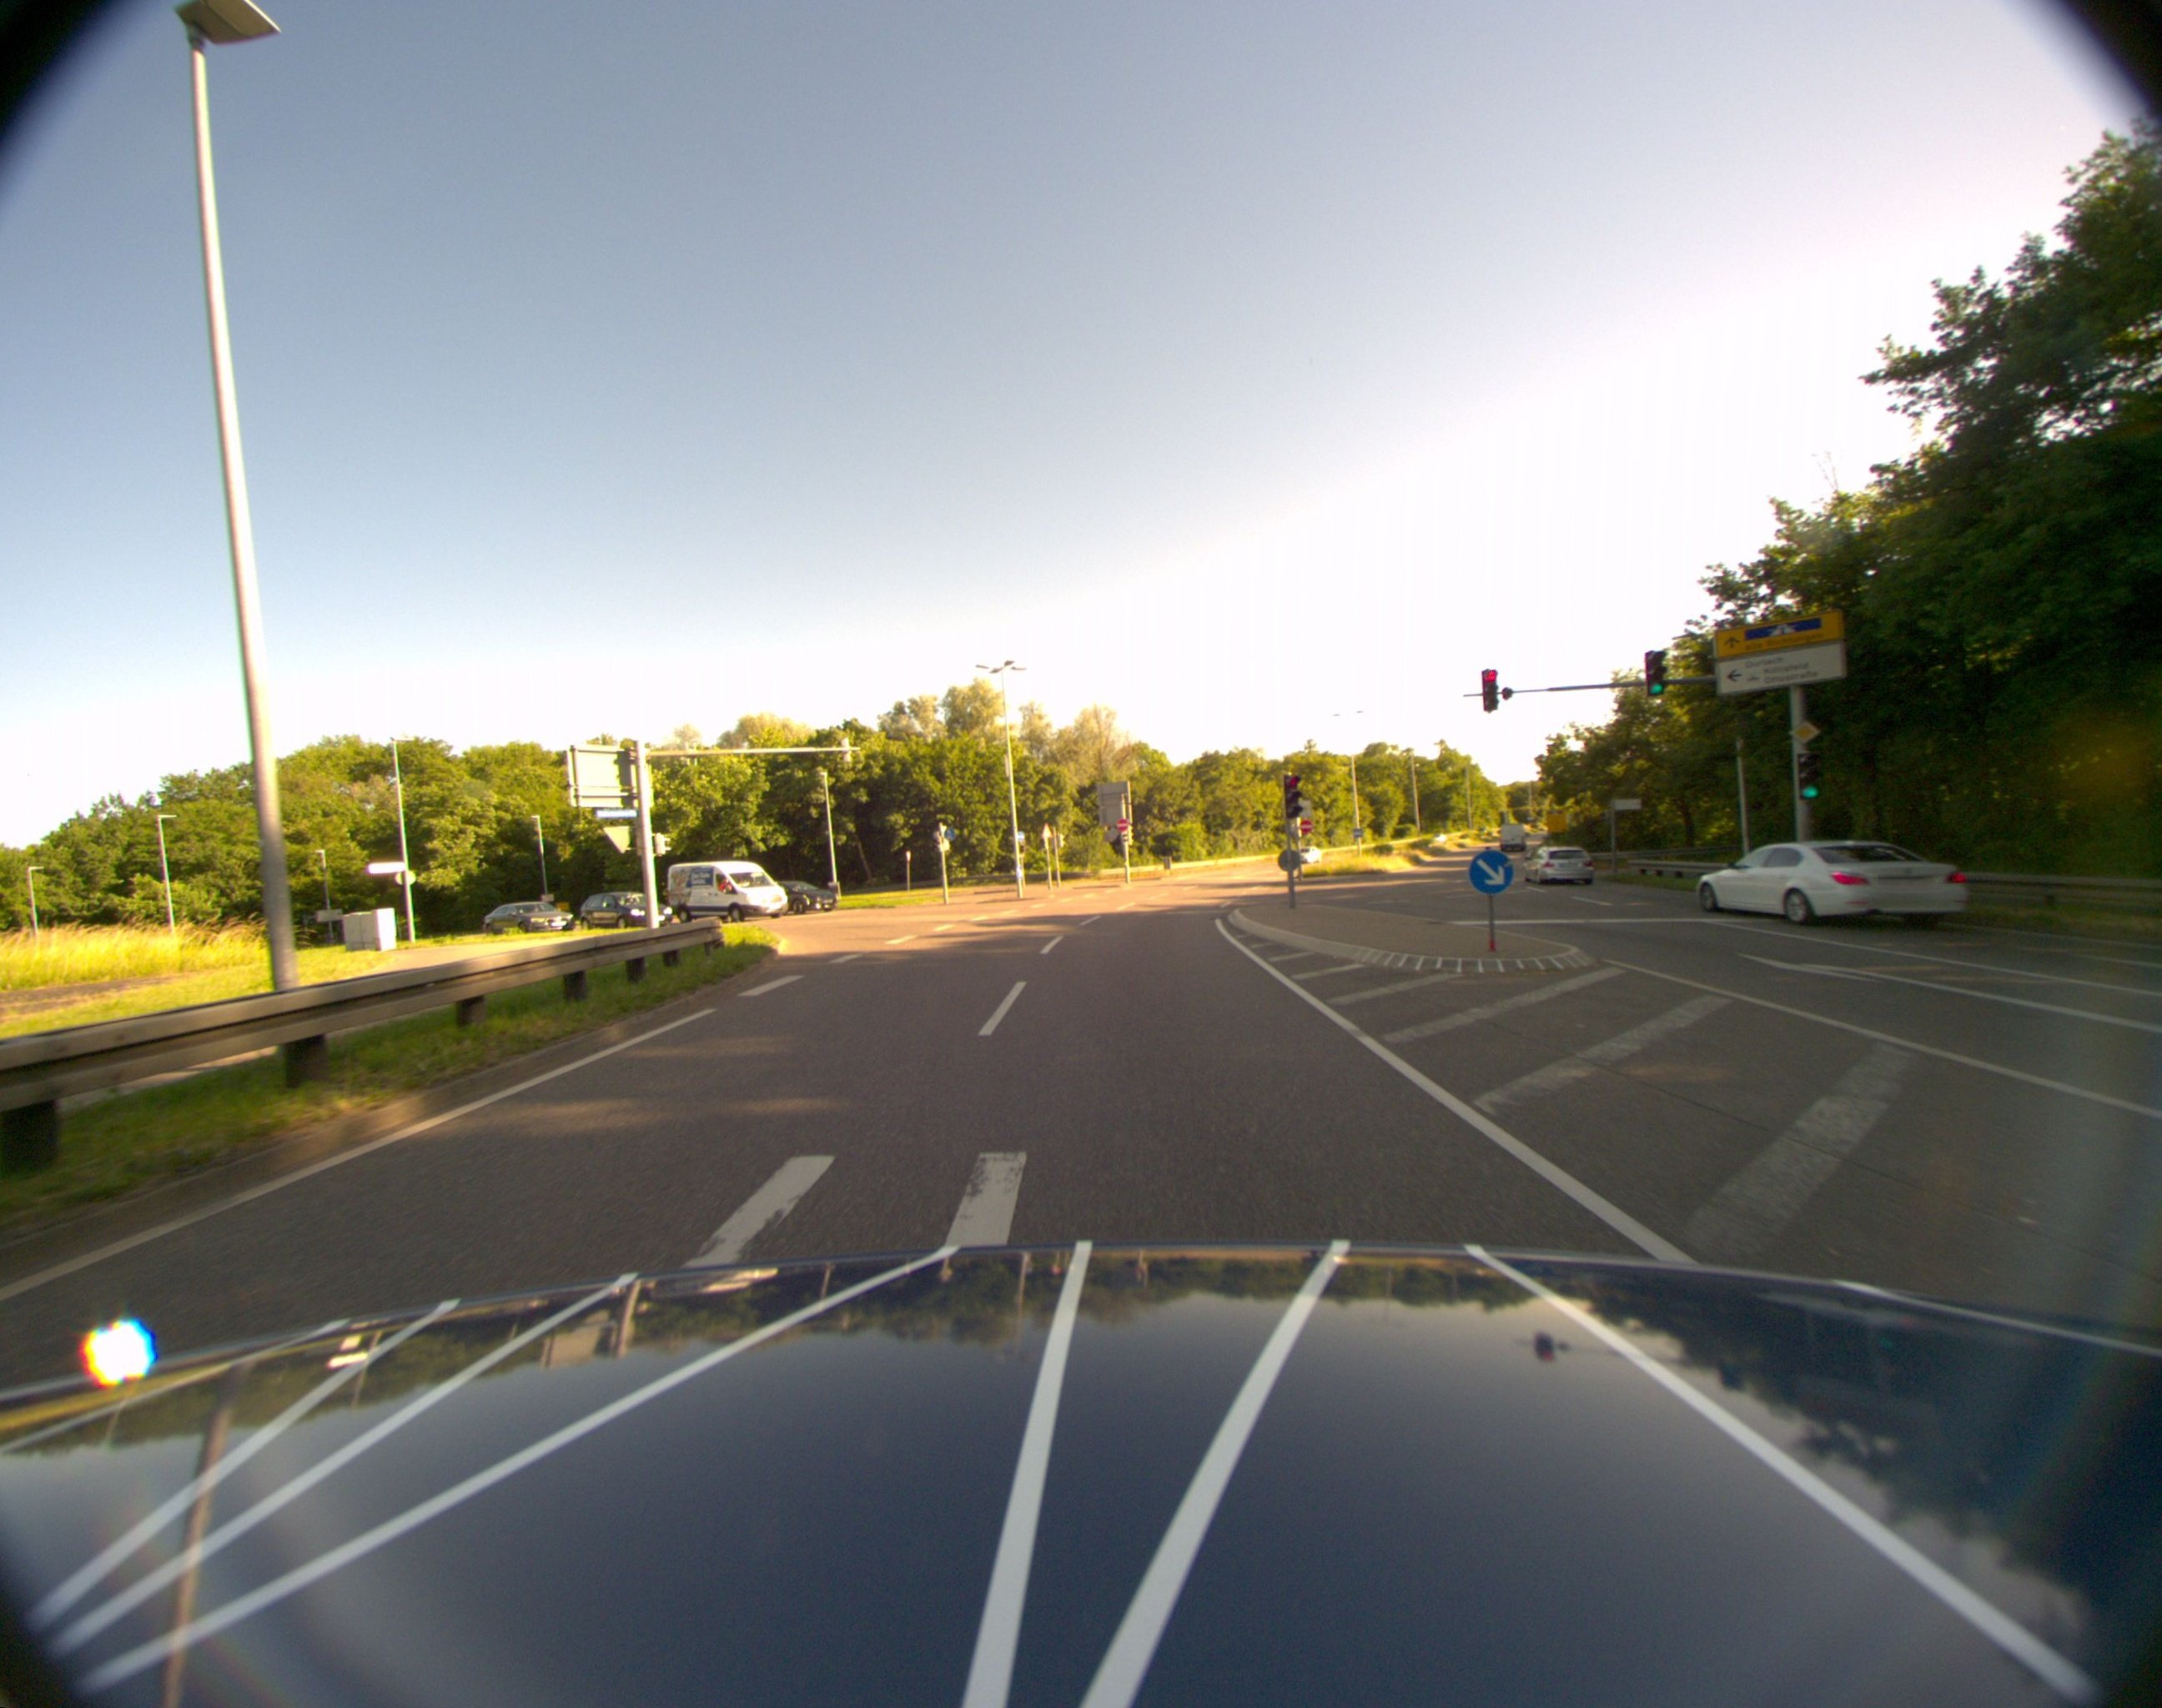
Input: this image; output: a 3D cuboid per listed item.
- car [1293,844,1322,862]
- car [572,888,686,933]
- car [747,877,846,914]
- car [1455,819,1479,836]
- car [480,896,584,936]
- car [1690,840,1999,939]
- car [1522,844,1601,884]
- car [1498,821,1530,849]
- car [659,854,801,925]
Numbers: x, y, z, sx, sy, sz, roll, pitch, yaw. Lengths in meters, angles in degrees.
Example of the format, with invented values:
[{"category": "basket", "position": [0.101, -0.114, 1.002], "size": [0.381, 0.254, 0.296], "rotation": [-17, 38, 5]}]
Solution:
[{"category": "car", "position": [20.251, -0.080, 67.796], "size": [1.761, 1.428, 4.337], "rotation": [-2, 0, 26]}, {"category": "car", "position": [-16.608, 2.052, 27.915], "size": [3.978, 1.405, 1.848], "rotation": [-2, 0, 30]}, {"category": "car", "position": [-12.674, 1.851, 33.811], "size": [4.078, 1.431, 1.772], "rotation": [-2, 1, 27]}, {"category": "car", "position": [49.311, -3.381, 96.977], "size": [1.995, 2.002, 4.007], "rotation": [-2, 1, 36]}, {"category": "car", "position": [-22.335, 2.497, 30.882], "size": [4.279, 1.383, 1.651], "rotation": [-2, 1, 28]}, {"category": "car", "position": [13.451, 0.525, 13.888], "size": [1.850, 1.479, 4.634], "rotation": [-2, 0, 14]}, {"category": "car", "position": [18.383, 0.338, 29.265], "size": [1.702, 1.382, 4.533], "rotation": [-1, 1, 21]}, {"category": "car", "position": [41.171, -1.783, 72.442], "size": [2.265, 2.538, 6.408], "rotation": [-1, 1, 26]}, {"category": "car", "position": [-14.211, 1.460, 30.678], "size": [5.692, 2.484, 2.118], "rotation": [-4, 0, 29]}]
